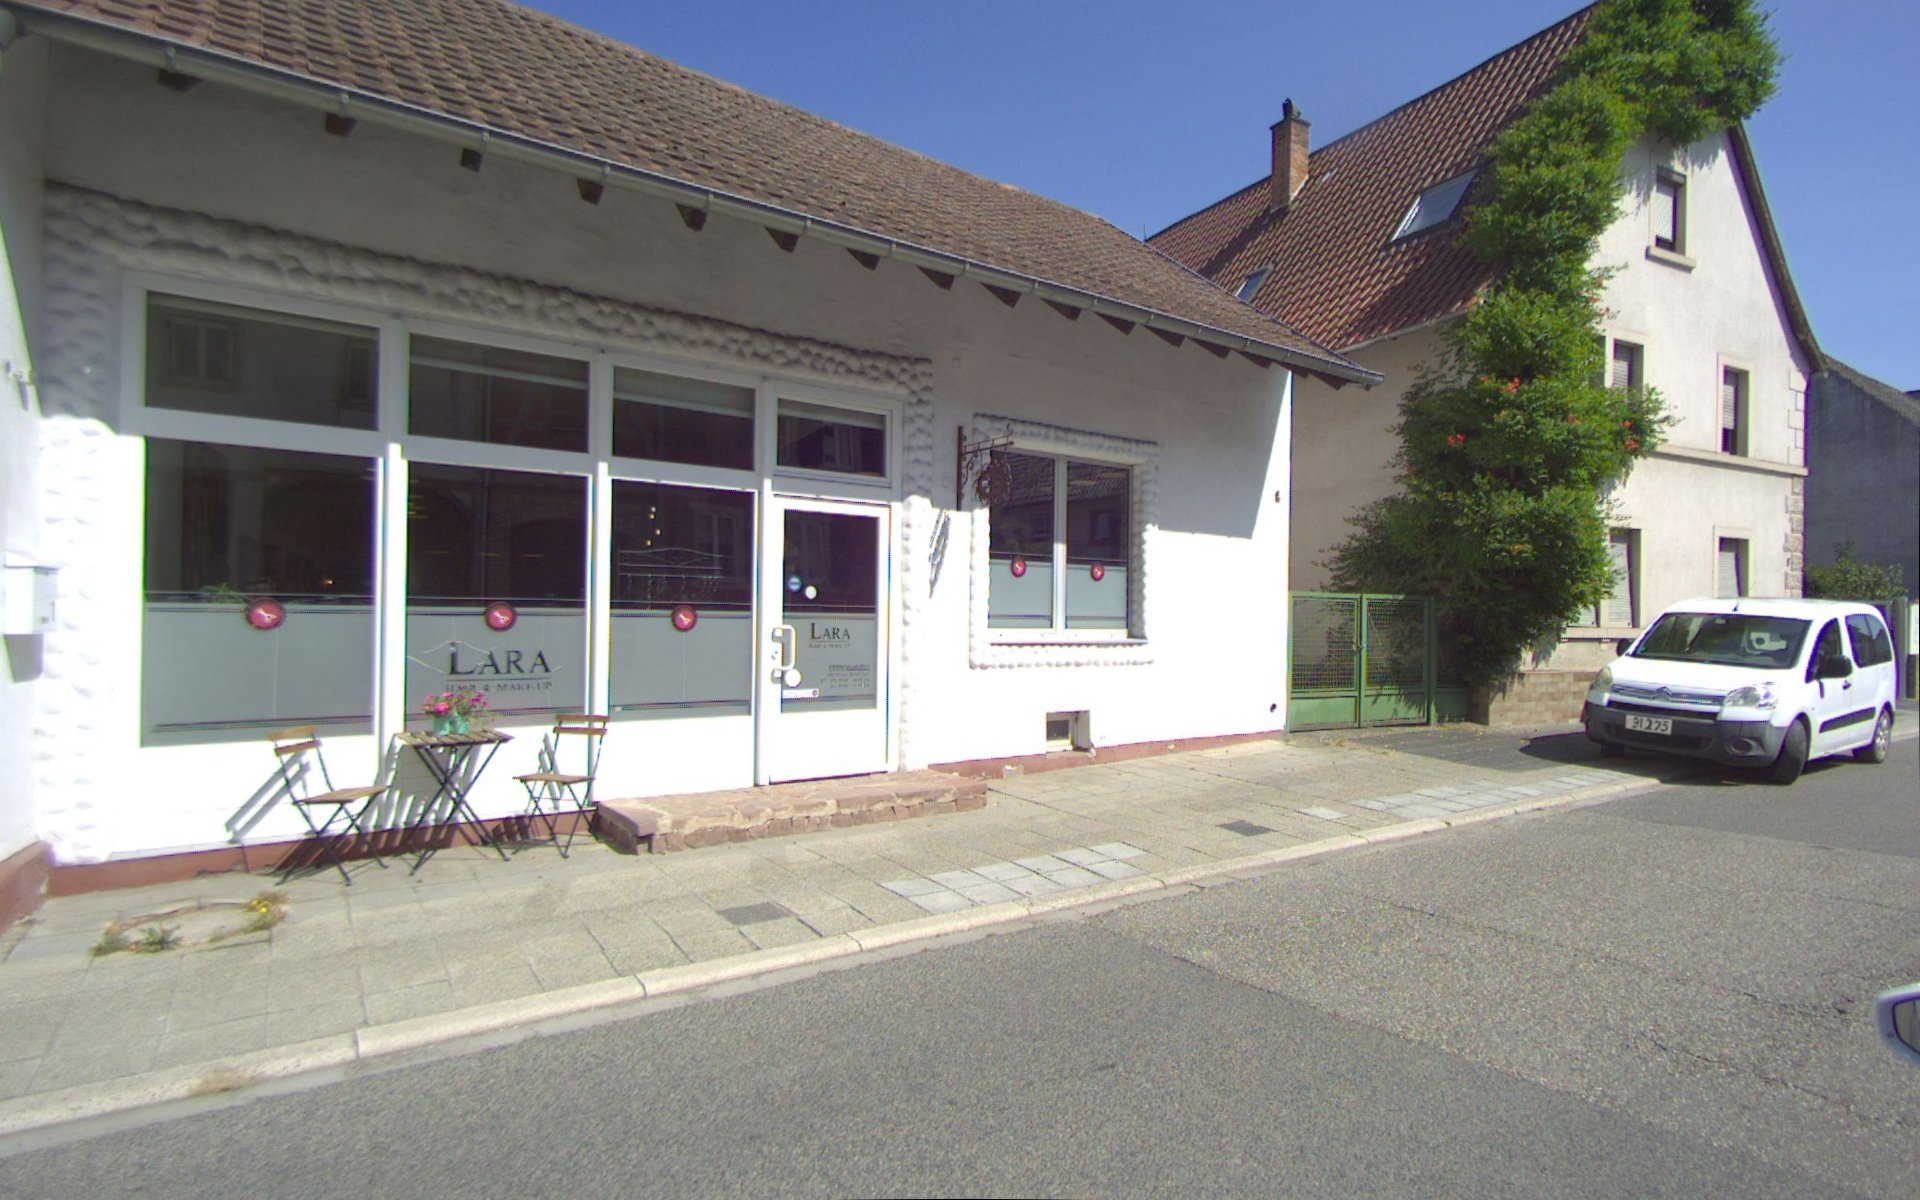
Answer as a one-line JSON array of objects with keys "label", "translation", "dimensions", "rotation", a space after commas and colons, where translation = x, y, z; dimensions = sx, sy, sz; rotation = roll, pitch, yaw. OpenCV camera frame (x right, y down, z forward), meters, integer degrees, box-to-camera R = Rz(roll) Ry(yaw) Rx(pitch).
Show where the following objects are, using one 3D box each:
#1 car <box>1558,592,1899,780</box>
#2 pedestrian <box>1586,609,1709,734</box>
[{"label": "car", "translation": [8.496, 0.803, 10.979], "dimensions": [4.387, 1.669, 1.842], "rotation": [1, -1, -37]}, {"label": "pedestrian", "translation": [9.186, 0.914, 13.433], "dimensions": [1.128, 1.572, 1.007], "rotation": [1, 0, -33]}]
